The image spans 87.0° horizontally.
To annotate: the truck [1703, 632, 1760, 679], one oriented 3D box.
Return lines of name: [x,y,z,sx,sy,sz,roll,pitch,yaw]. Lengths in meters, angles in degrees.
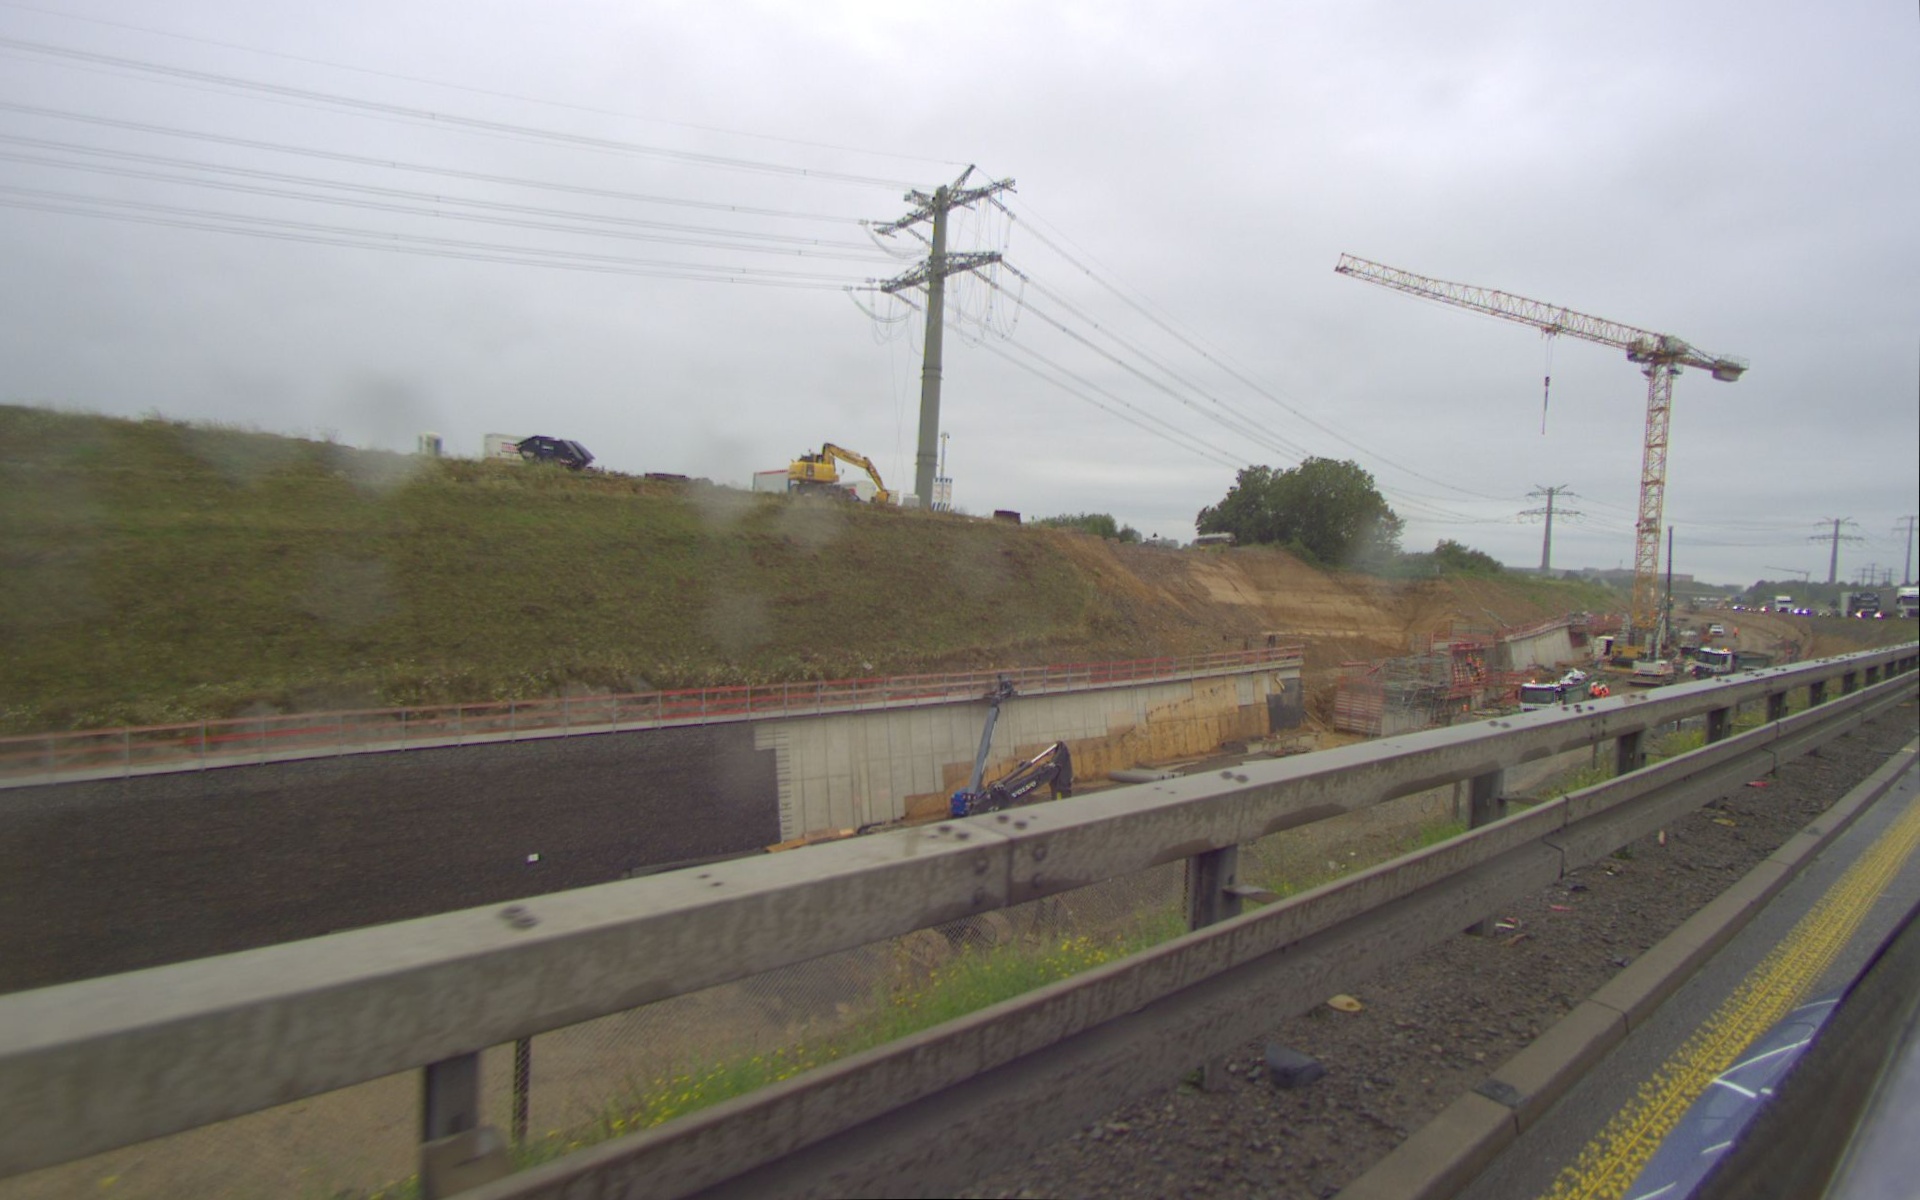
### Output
truck: [74.250,5.236,97.317,3.353,3.583,8.770,1,3,44]

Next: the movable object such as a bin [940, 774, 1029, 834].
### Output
movable object such as a bin: [1.119,9.157,45.734,2.515,1.935,3.206,-2,-1,43]

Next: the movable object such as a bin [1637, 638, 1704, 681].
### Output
movable object such as a bin: [67.213,5.584,95.715,6.534,3.467,3.516,-2,1,-39]

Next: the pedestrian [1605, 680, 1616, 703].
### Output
pedestrian: [53.283,7.523,82.917,0.602,1.791,0.474,6,4,42]

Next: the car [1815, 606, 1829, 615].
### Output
car: [143.724,1.786,168.749,1.782,1.445,3.943,-1,0,39]

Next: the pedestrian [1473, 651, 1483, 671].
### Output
pedestrian: [48.683,5.704,95.144,0.570,1.827,0.490,-3,-3,-8]

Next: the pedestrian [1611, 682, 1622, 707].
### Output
pedestrian: [54.230,7.817,83.612,0.601,1.928,0.605,3,2,42]

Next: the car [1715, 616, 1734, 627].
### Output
car: [136.730,3.814,180.947,2.343,1.638,4.788,2,2,41]

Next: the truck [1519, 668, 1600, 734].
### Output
truck: [42.973,7.077,72.397,8.926,3.655,2.705,-2,3,-45]

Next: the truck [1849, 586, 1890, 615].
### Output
truck: [127.886,0.091,142.392,3.528,3.943,8.223,-1,0,37]

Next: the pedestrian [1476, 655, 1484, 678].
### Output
pedestrian: [49.529,6.333,96.392,0.487,2.127,0.474,-6,-4,42]

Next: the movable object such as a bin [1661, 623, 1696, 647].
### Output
movable object such as a bin: [104.730,5.019,147.540,3.493,2.915,3.940,9,6,42]

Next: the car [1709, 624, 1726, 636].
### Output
car: [118.943,4.694,158.827,1.853,1.638,4.020,2,2,41]

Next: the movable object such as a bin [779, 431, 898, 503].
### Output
movable object such as a bin: [-8.603,-9.361,72.265,8.033,4.258,3.106,0,1,-40]

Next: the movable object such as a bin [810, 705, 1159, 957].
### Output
movable object such as a bin: [1.213,7.390,35.498,11.884,5.740,4.901,-3,1,-41]

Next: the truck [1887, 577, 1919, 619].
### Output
truck: [105.520,-0.210,111.840,4.303,4.400,13.205,-1,0,42]

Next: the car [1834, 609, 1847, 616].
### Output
car: [170.074,2.420,195.499,1.783,1.445,3.940,-1,0,42]

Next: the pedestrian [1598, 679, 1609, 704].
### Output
pedestrian: [53.993,7.679,84.944,0.601,1.928,0.474,4,3,42]
